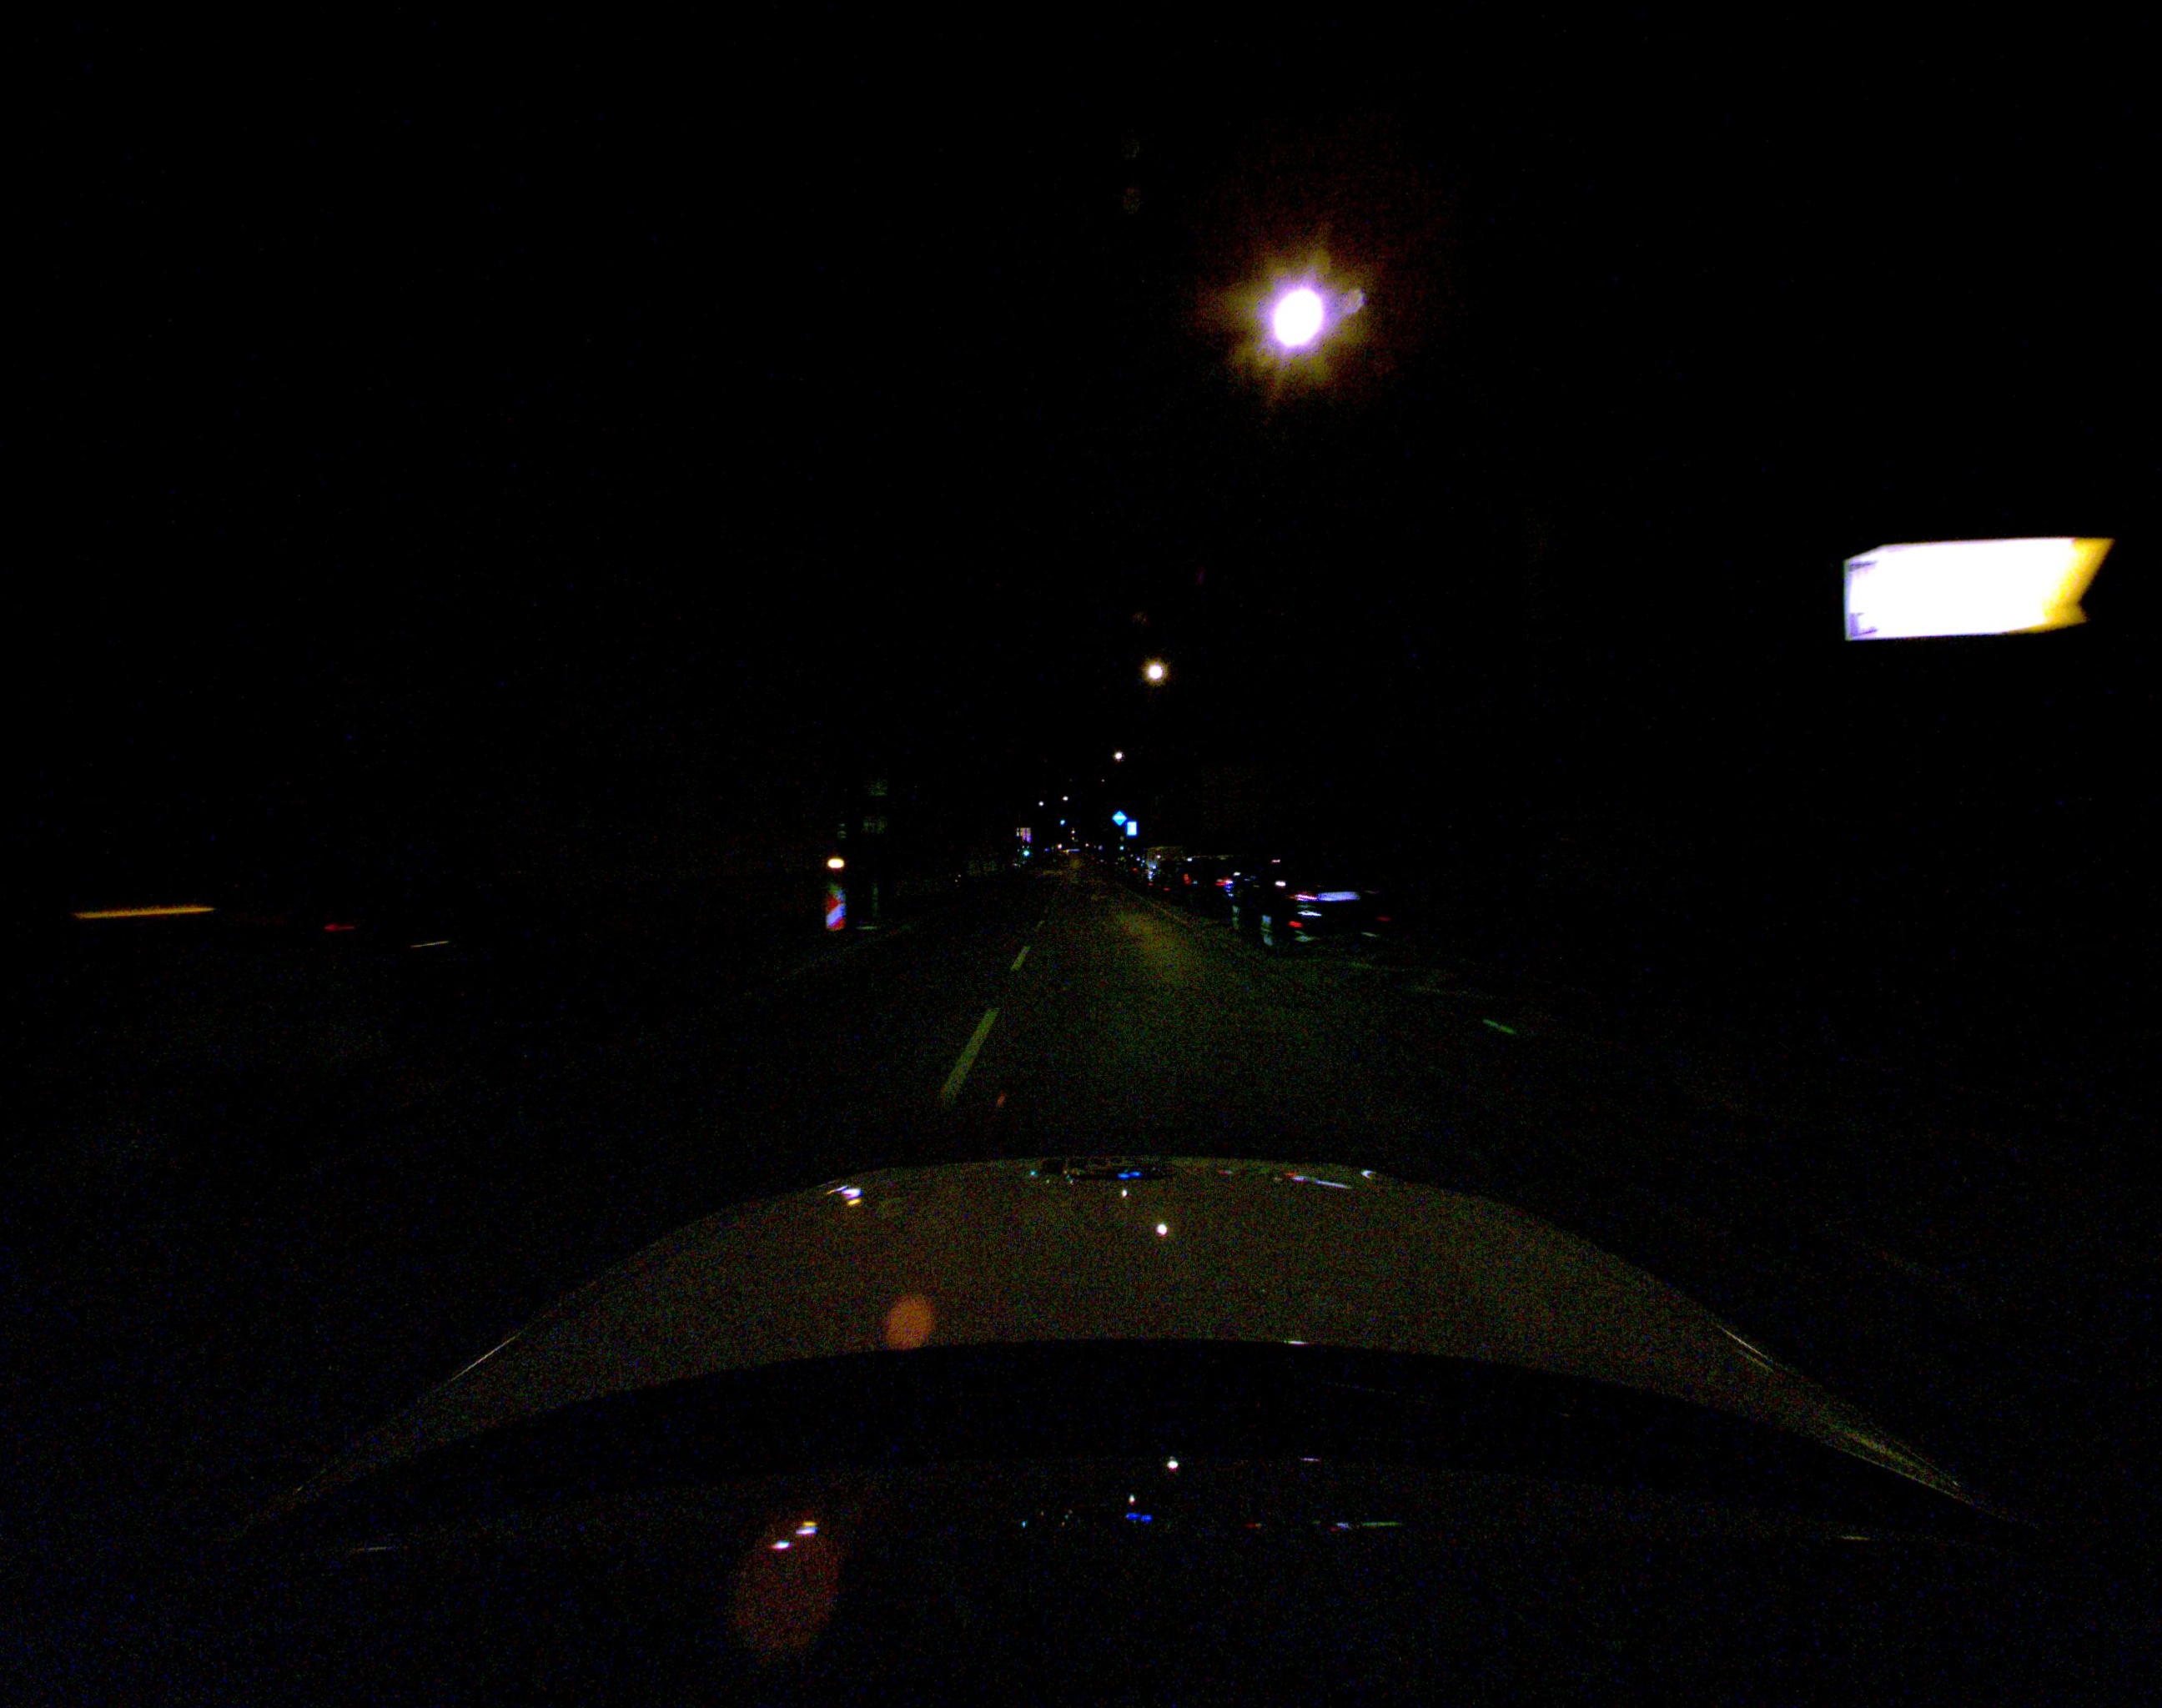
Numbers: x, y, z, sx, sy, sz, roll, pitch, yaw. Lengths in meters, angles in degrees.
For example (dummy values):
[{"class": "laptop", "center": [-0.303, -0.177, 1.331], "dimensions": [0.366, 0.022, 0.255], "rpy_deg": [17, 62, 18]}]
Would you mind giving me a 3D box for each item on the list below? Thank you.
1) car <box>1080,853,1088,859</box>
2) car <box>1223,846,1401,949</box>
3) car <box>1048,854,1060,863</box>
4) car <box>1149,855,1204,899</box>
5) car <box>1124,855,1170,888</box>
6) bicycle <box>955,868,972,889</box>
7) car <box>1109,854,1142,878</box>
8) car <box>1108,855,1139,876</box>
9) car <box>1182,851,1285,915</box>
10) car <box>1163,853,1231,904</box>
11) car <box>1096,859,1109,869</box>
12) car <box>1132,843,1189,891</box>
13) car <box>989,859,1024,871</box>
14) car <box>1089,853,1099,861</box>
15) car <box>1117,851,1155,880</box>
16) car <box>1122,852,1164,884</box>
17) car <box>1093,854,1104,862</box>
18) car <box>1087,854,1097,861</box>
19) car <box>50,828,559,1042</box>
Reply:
[{"class": "car", "center": [0.859, 0.543, 227.001], "dimensions": [1.986, 1.520, 4.000], "rpy_deg": [-2, -1, 1]}, {"class": "car", "center": [3.715, 0.657, 13.962], "dimensions": [1.773, 1.426, 4.480], "rpy_deg": [-2, -1, 0]}, {"class": "car", "center": [-4.964, 0.894, 148.934], "dimensions": [1.987, 1.502, 3.999], "rpy_deg": [-2, -1, 0]}, {"class": "car", "center": [3.513, 0.825, 30.469], "dimensions": [1.590, 1.467, 3.891], "rpy_deg": [-2, -1, 0]}, {"class": "car", "center": [3.247, 0.827, 40.714], "dimensions": [1.811, 1.427, 4.186], "rpy_deg": [-3, 0, -1]}, {"class": "bicycle", "center": [-6.213, 1.275, 43.086], "dimensions": [0.617, 1.052, 1.721], "rpy_deg": [-2, -1, 0]}, {"class": "car", "center": [3.064, 0.856, 56.744], "dimensions": [1.771, 1.544, 4.541], "rpy_deg": [-2, -1, -3]}, {"class": "car", "center": [3.258, 0.906, 63.101], "dimensions": [1.855, 1.489, 4.541], "rpy_deg": [-2, -1, -3]}, {"class": "car", "center": [3.738, 0.691, 20.643], "dimensions": [1.774, 1.426, 3.889], "rpy_deg": [-2, -1, -1]}, {"class": "car", "center": [3.587, 0.738, 25.744], "dimensions": [1.590, 1.467, 3.718], "rpy_deg": [-2, -1, 0]}, {"class": "car", "center": [3.416, 1.541, 130.730], "dimensions": [1.986, 1.516, 4.001], "rpy_deg": [-1, 0, 1]}, {"class": "car", "center": [3.432, 0.549, 36.030], "dimensions": [1.796, 1.875, 4.769], "rpy_deg": [-4, 0, -2]}, {"class": "car", "center": [-9.708, 1.456, 106.673], "dimensions": [4.426, 1.449, 1.999], "rpy_deg": [-2, -1, -1]}, {"class": "car", "center": [2.557, 0.605, 161.720], "dimensions": [1.986, 1.520, 4.000], "rpy_deg": [-2, -1, 1]}, {"class": "car", "center": [3.391, 0.674, 50.960], "dimensions": [1.819, 1.623, 4.453], "rpy_deg": [-3, 0, -3]}, {"class": "car", "center": [3.431, 0.743, 45.814], "dimensions": [1.819, 1.588, 4.625], "rpy_deg": [-3, 0, -2]}, {"class": "car", "center": [3.257, 0.775, 154.720], "dimensions": [1.986, 1.520, 4.000], "rpy_deg": [-2, -1, 1]}, {"class": "car", "center": [2.462, 0.719, 178.878], "dimensions": [1.986, 1.520, 4.000], "rpy_deg": [-2, -1, 1]}, {"class": "car", "center": [-7.963, 0.782, 8.521], "dimensions": [3.960, 1.889, 1.915], "rpy_deg": [-2, -1, 12]}]
